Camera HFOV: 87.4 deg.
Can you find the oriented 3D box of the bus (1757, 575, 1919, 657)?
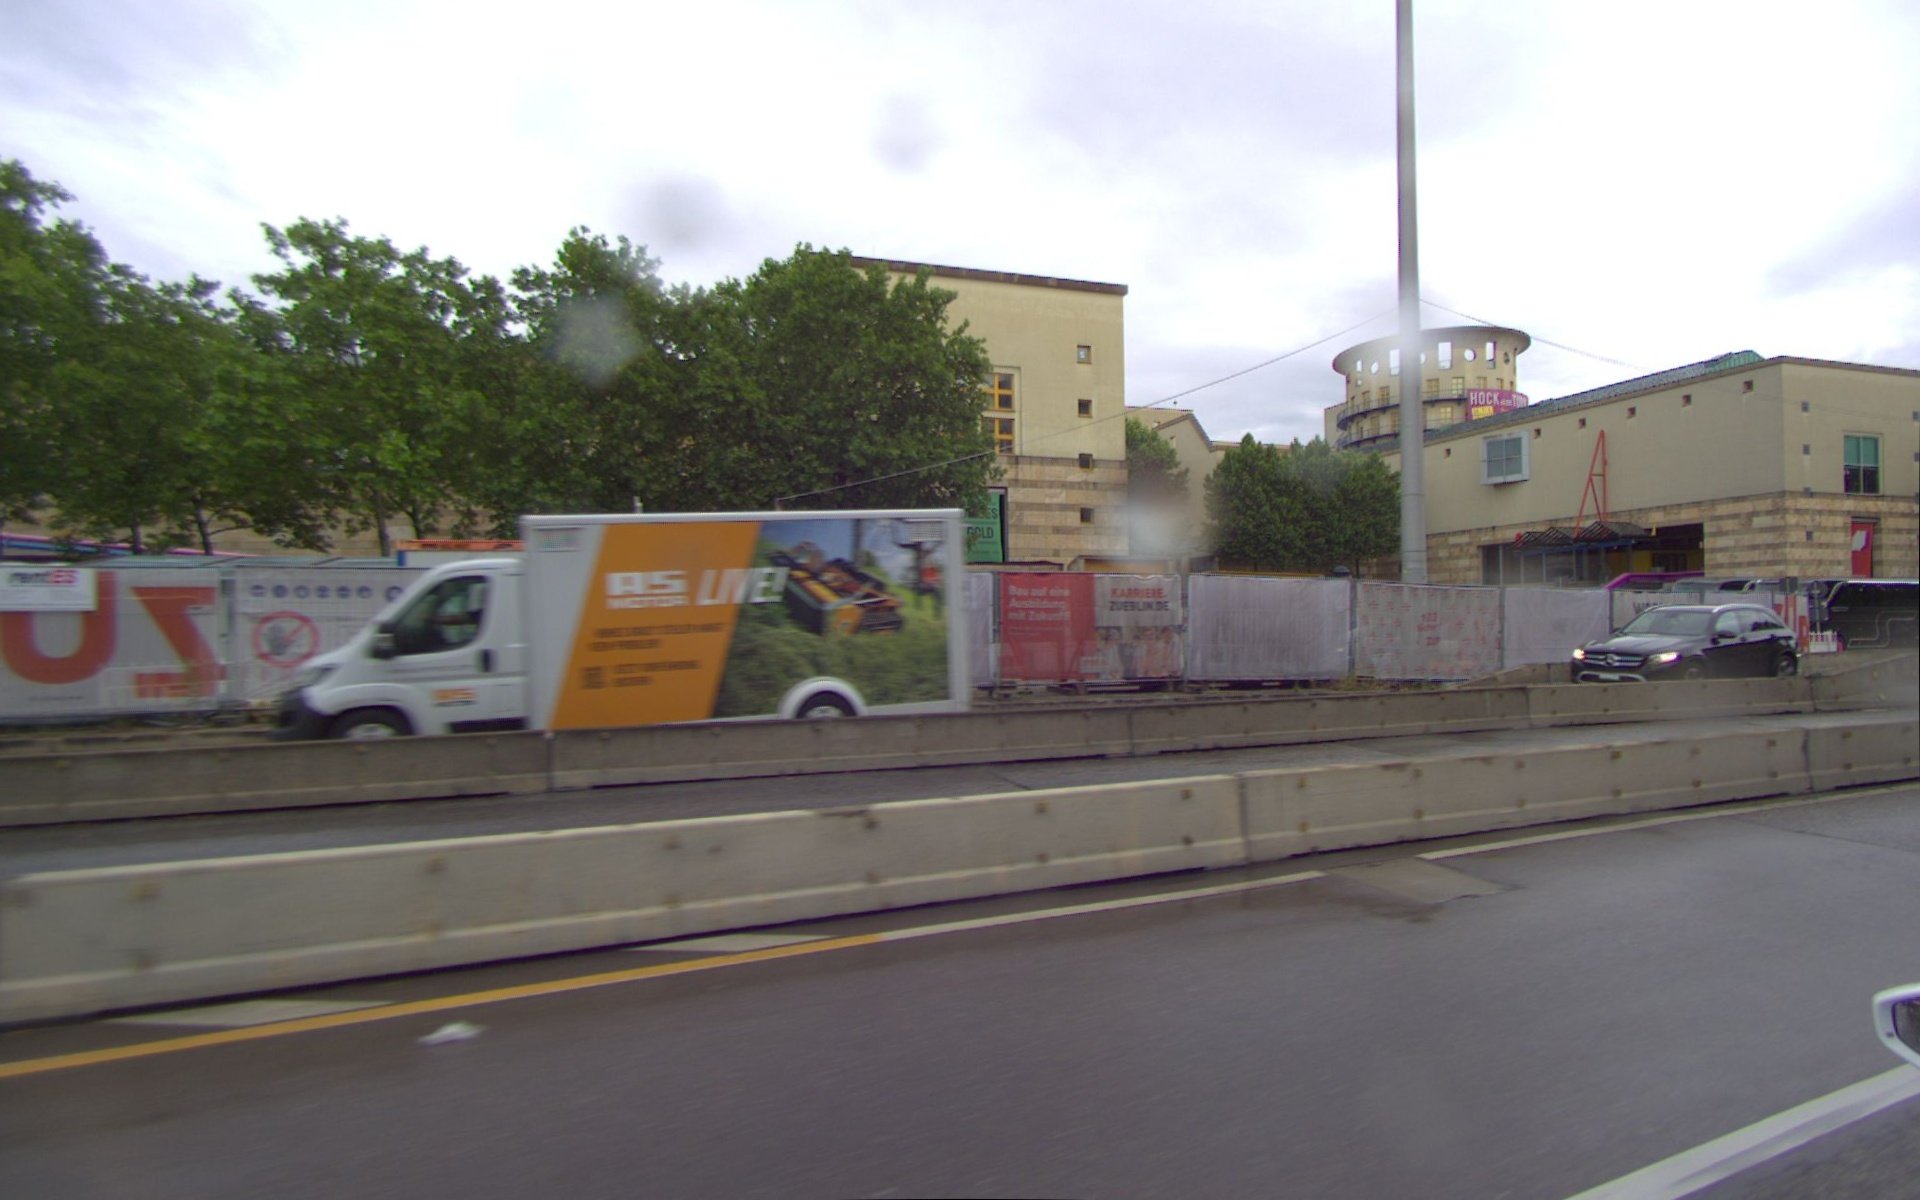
[{"bbox_3d":[47.259,0.693,51.056,14.355,3.862,2.804,0,1,-16],"label":"bus"}]

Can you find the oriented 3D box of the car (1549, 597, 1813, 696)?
[{"bbox_3d":[12.971,0.774,18.030,4.699,1.550,1.914,0,-1,-27],"label":"car"}]

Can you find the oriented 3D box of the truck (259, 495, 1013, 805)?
[{"bbox_3d":[-3.214,0.437,11.304,7.242,2.755,2.395,-1,-1,-20],"label":"truck"}]

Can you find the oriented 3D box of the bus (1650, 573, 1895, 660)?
[{"bbox_3d":[43.148,0.756,53.289,13.272,4.309,3.118,-1,1,-16],"label":"bus"}]

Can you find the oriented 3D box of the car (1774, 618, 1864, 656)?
[{"bbox_3d":[36.747,1.568,43.001,3.167,1.519,1.589,0,-4,-22],"label":"car"}]

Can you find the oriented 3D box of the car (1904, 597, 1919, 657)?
[{"bbox_3d":[26.860,0.667,26.235,3.948,1.550,1.987,-1,-1,-27],"label":"car"}]
